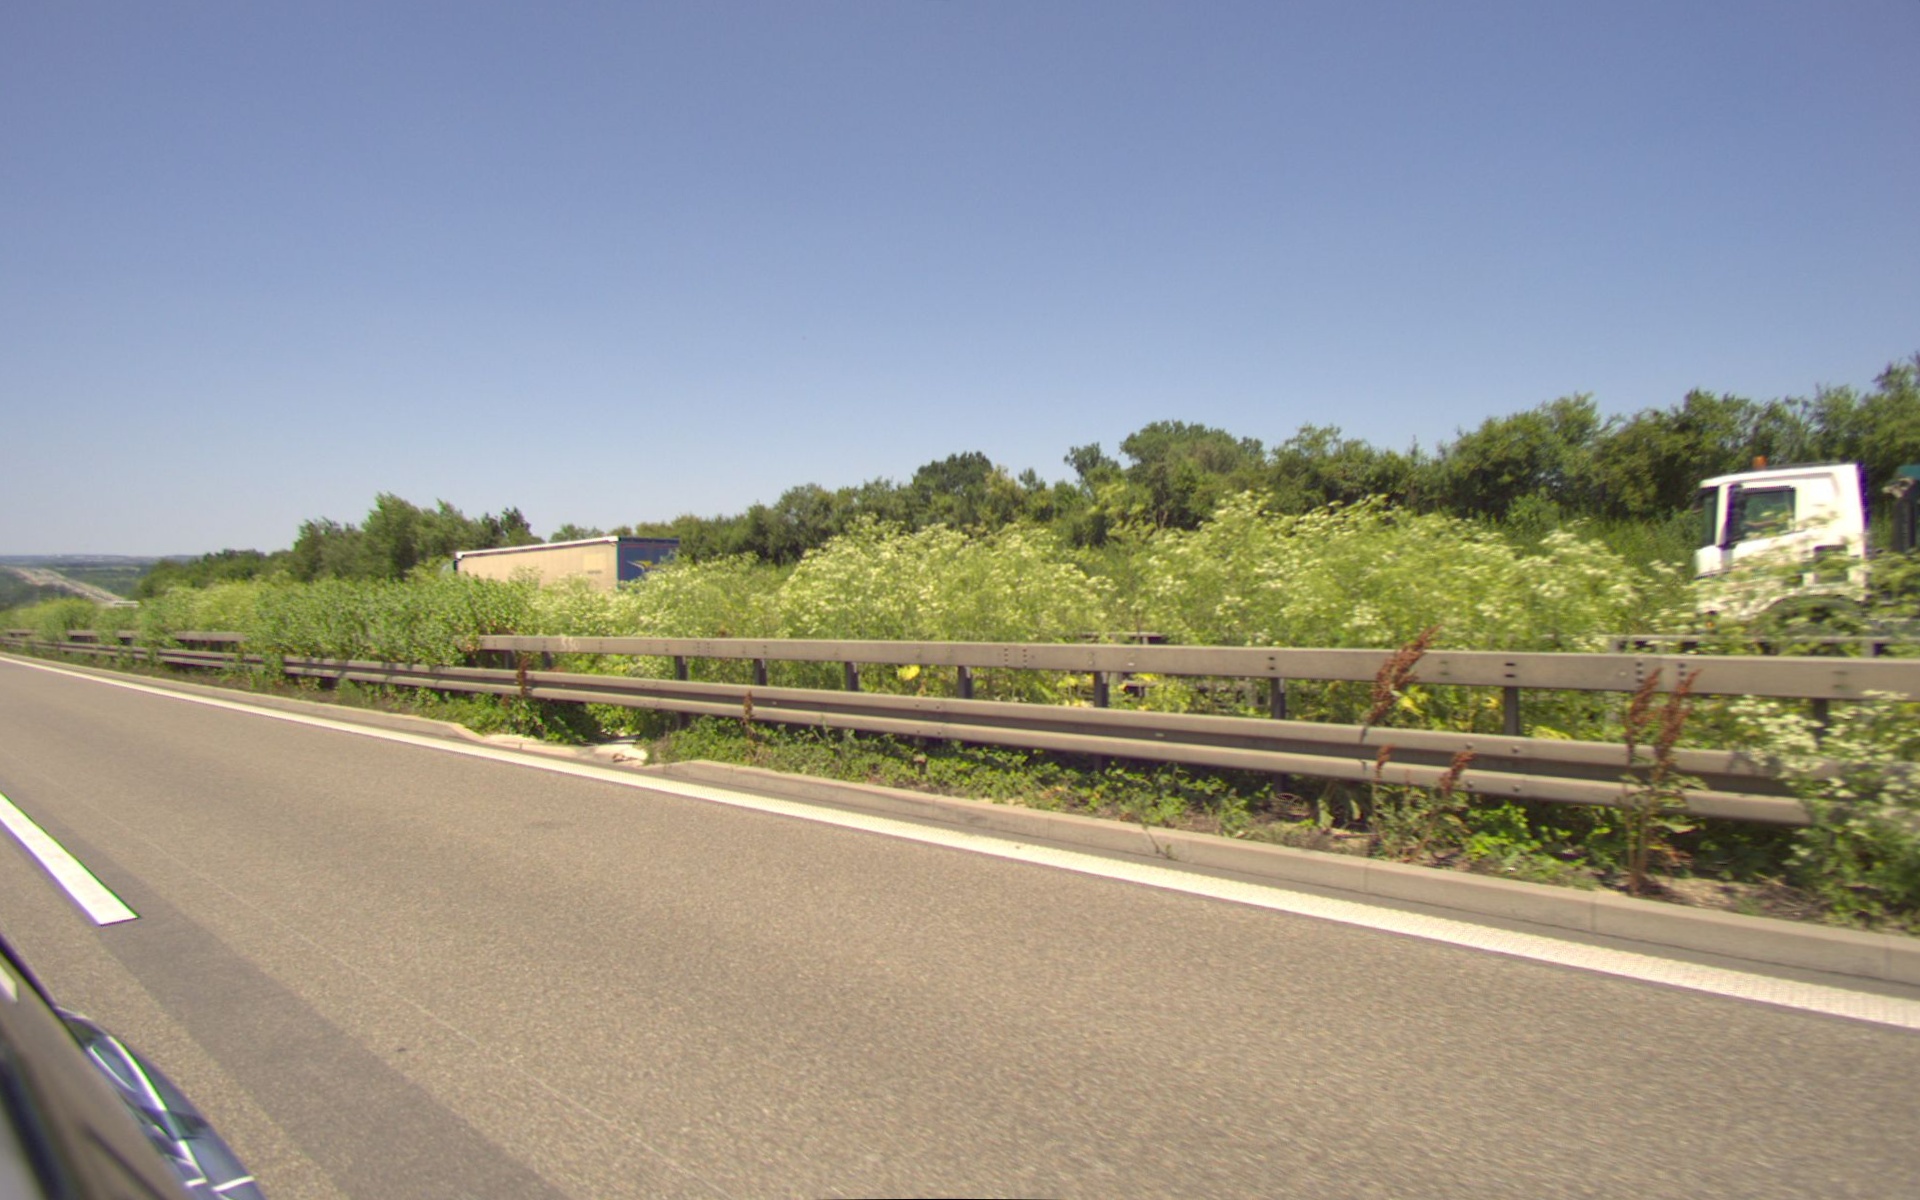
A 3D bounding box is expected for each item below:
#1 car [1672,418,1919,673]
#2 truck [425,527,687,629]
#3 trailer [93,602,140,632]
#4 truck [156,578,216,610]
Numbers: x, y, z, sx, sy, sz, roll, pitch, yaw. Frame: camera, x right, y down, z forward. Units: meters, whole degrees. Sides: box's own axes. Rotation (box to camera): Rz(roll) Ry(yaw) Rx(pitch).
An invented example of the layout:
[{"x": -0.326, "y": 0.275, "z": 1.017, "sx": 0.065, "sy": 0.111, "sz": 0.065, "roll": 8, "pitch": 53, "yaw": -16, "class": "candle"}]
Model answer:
[{"x": 14.883, "y": -0.751, "z": 13.271, "sx": 8.793, "sy": 3.378, "sz": 2.764, "roll": -1, "pitch": -1, "yaw": 42, "class": "car"}, {"x": -17.285, "y": -0.627, "z": 41.772, "sx": 17.030, "sy": 3.545, "sz": 2.646, "roll": -1, "pitch": -1, "yaw": 41, "class": "truck"}, {"x": -103.678, "y": 2.150, "z": 124.294, "sx": 15.830, "sy": 3.469, "sz": 2.569, "roll": -1, "pitch": -1, "yaw": 43, "class": "trailer"}, {"x": -65.065, "y": -0.443, "z": 85.026, "sx": 7.840, "sy": 2.497, "sz": 2.648, "roll": -1, "pitch": -2, "yaw": 43, "class": "truck"}]
